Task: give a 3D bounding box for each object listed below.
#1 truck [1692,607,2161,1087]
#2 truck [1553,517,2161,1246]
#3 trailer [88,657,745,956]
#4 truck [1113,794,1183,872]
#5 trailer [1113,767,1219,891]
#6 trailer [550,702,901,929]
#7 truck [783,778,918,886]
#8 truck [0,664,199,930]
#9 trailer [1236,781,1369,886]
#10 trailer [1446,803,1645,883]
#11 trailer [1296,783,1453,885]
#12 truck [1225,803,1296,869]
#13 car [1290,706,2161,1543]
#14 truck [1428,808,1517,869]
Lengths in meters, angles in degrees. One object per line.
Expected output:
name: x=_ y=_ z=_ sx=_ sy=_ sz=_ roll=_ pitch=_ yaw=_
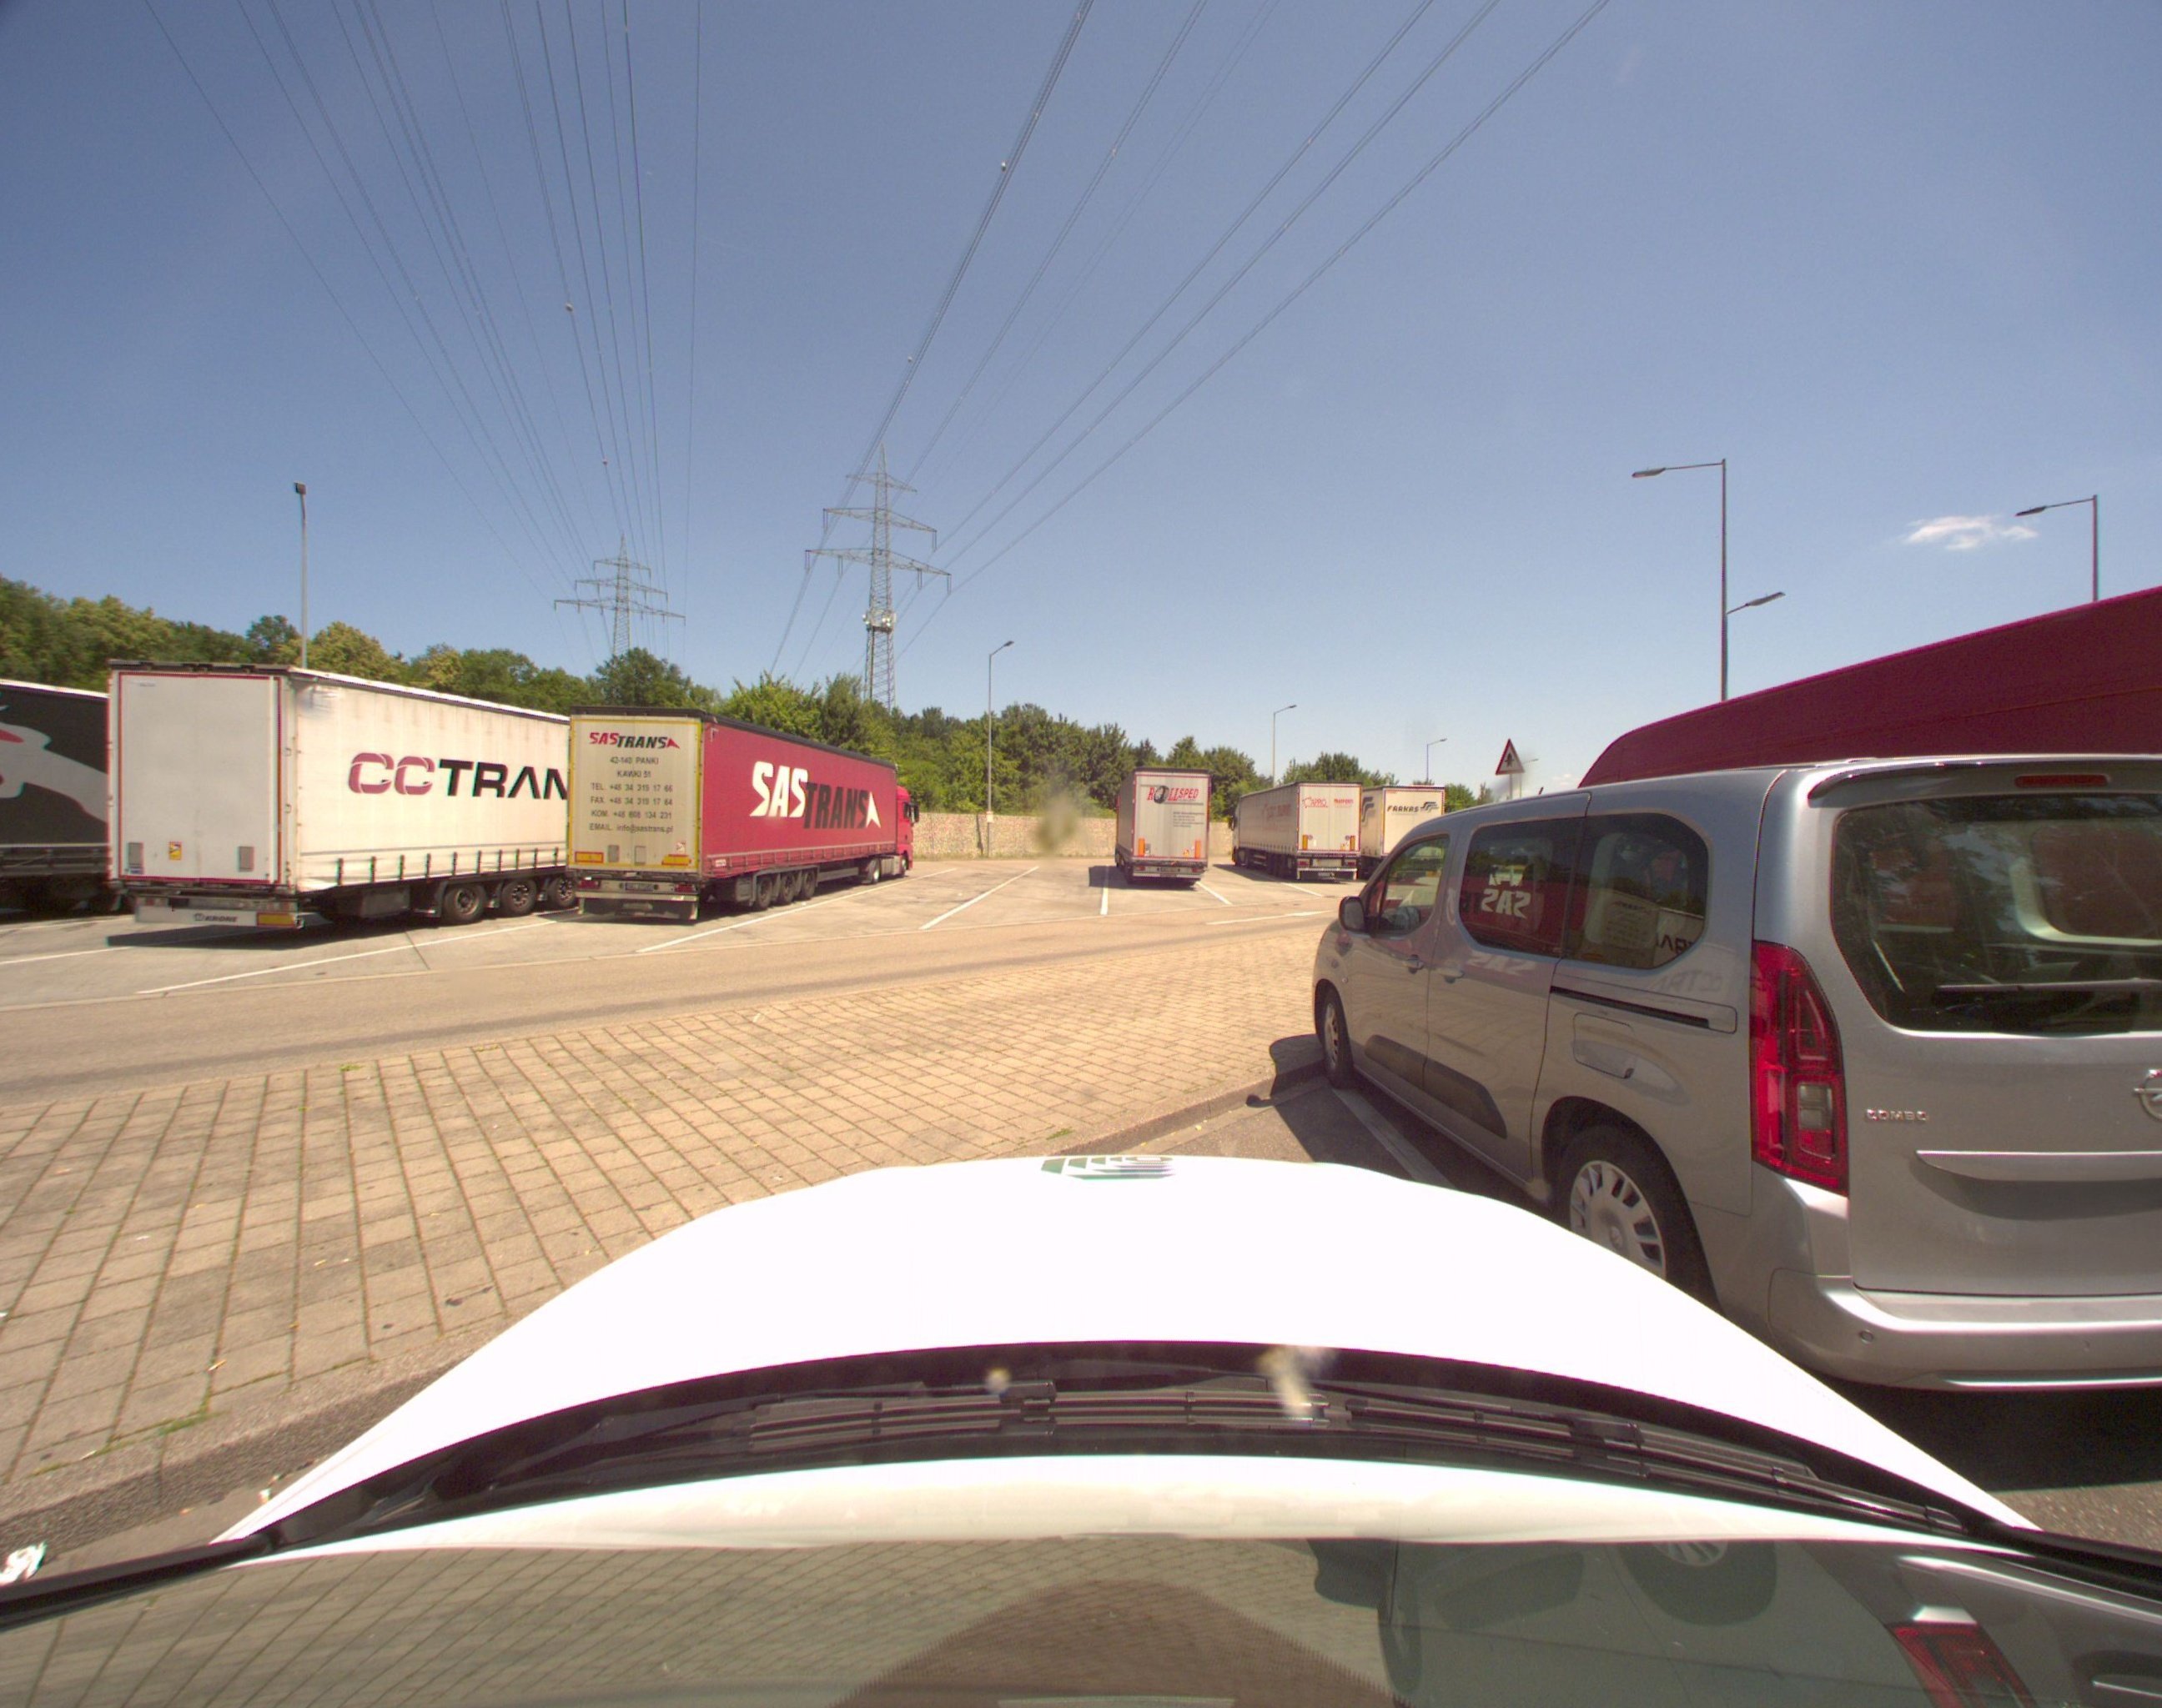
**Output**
truck: x=7.981 y=-0.039 z=6.480 sx=2.444 sy=2.912 sz=5.663 roll=-1 pitch=-1 yaw=7
truck: x=5.125 y=0.118 z=4.932 sx=1.968 sy=2.622 sz=5.314 roll=0 pitch=-1 yaw=7
trailer: x=-12.138 y=-0.907 z=18.362 sx=2.785 sy=4.084 sz=14.139 roll=1 pitch=2 yaw=2
truck: x=3.221 y=-1.086 z=40.615 sx=3.092 sy=3.566 sz=5.903 roll=1 pitch=2 yaw=2
trailer: x=3.055 y=-1.069 z=33.721 sx=3.122 sy=3.989 sz=14.401 roll=1 pitch=2 yaw=1
trailer: x=-8.073 y=-0.945 z=21.931 sx=2.781 sy=4.084 sz=14.139 roll=1 pitch=2 yaw=2
truck: x=-7.825 y=-0.783 z=28.501 sx=2.840 sy=3.327 sz=5.903 roll=1 pitch=2 yaw=2
truck: x=-18.551 y=-0.961 z=13.811 sx=2.726 sy=4.239 sz=3.997 roll=1 pitch=2 yaw=2
trailer: x=9.920 y=-1.053 z=38.669 sx=2.801 sy=3.989 sz=14.403 roll=1 pitch=2 yaw=2
trailer: x=24.091 y=-0.749 z=43.778 sx=2.801 sy=3.507 sz=14.403 roll=1 pitch=2 yaw=2
trailer: x=13.594 y=-1.046 z=39.632 sx=2.801 sy=3.989 sz=14.403 roll=1 pitch=2 yaw=2
truck: x=10.184 y=-1.084 z=46.770 sx=2.852 sy=3.521 sz=5.903 roll=1 pitch=2 yaw=2
car: x=2.479 y=0.575 z=3.909 sx=1.864 sy=1.863 sz=4.176 roll=1 pitch=1 yaw=0
truck: x=24.348 y=-1.022 z=51.009 sx=2.792 sy=3.521 sz=5.903 roll=1 pitch=2 yaw=2
